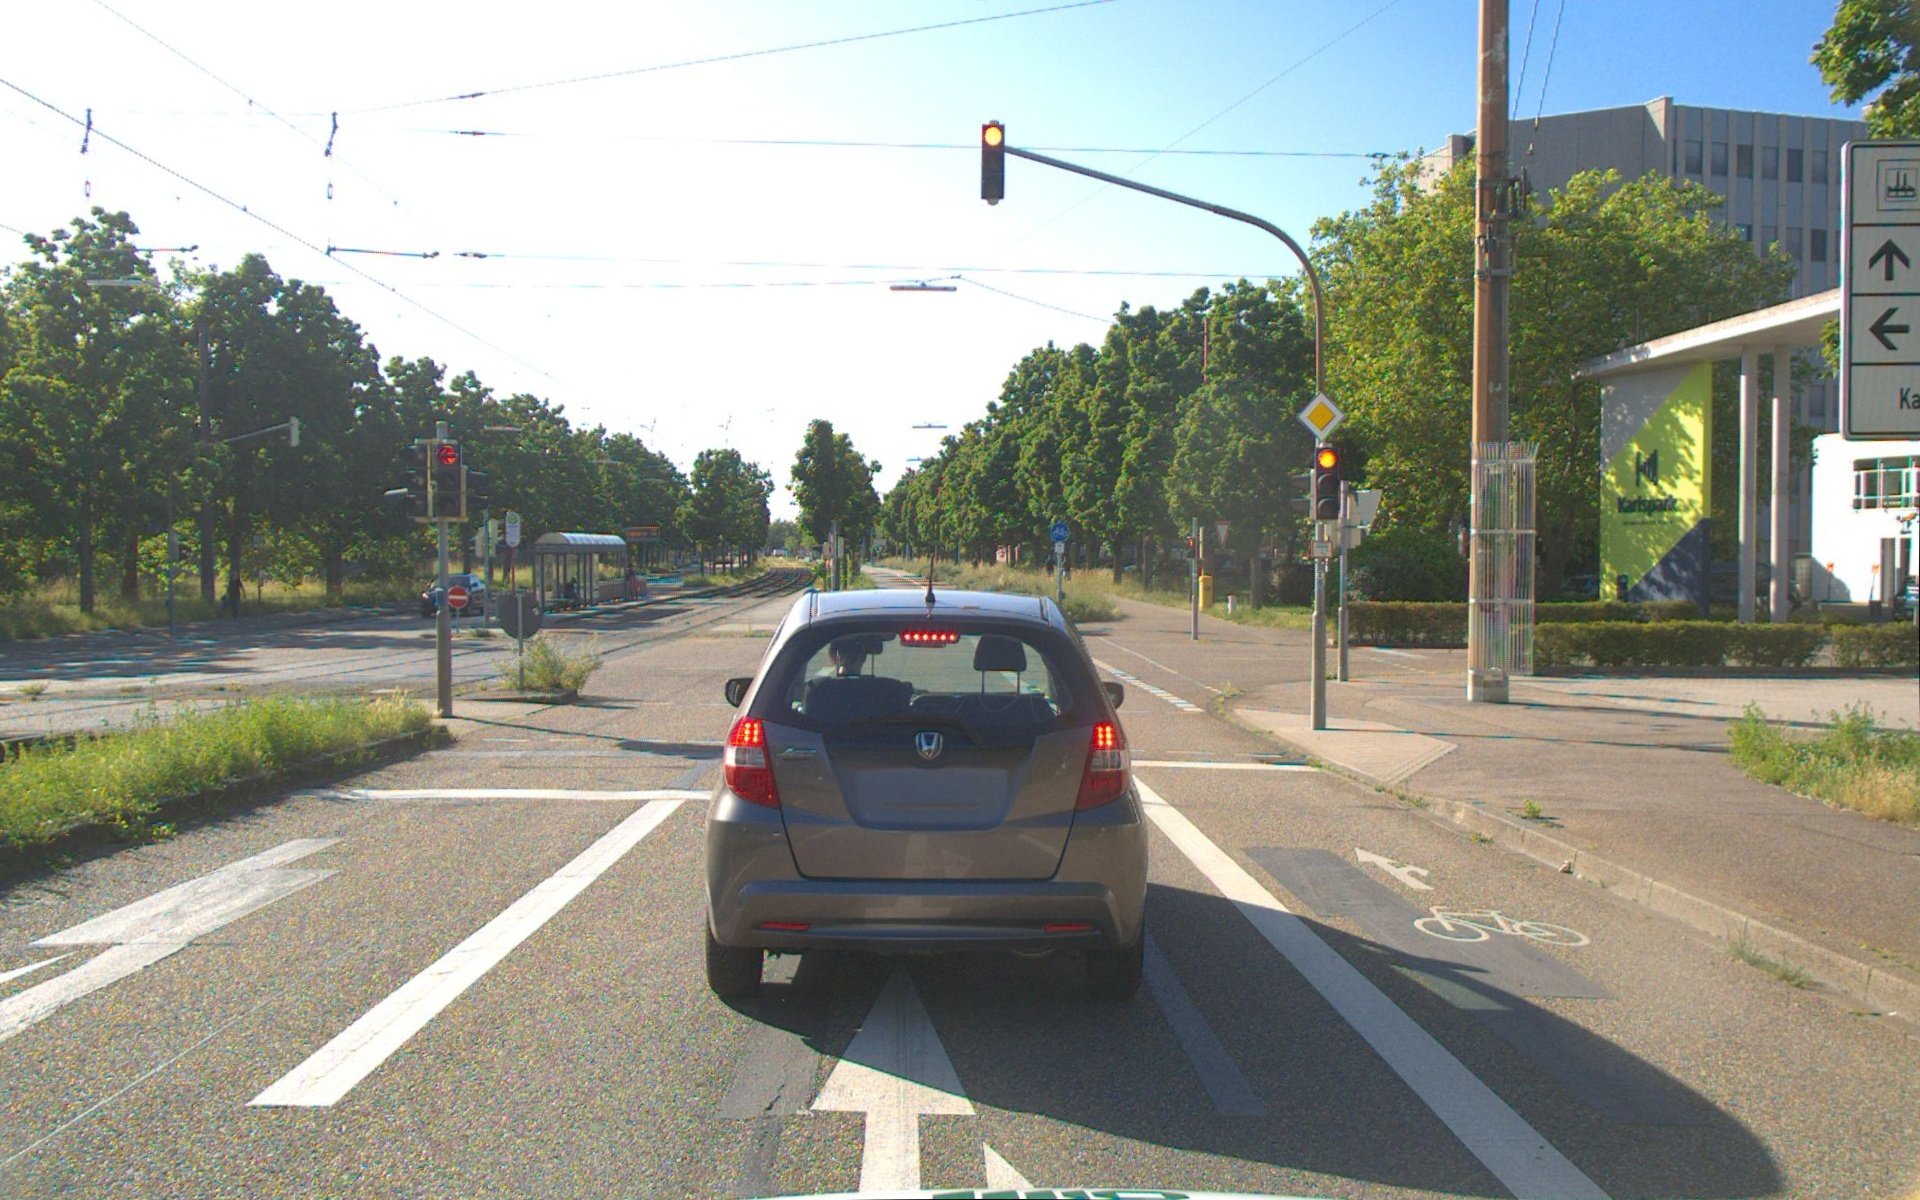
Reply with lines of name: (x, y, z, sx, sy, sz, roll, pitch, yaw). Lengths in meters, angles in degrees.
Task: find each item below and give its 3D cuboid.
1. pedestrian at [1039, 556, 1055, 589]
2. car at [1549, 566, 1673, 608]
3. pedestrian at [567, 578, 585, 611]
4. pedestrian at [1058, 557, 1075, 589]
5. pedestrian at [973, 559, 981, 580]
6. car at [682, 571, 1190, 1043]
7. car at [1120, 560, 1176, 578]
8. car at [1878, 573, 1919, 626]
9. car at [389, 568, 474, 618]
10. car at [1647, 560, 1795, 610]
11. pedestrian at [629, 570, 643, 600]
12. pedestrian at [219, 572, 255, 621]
pedestrian: (5.163, -1.627, 98.241, 0.865, 1.917, 0.875, 0, 1, -5)
car: (26.576, -0.543, 67.618, 4.371, 1.715, 1.892, 0, 1, -7)
pedestrian: (-15.152, -0.225, 65.285, 0.552, 1.279, 0.580, -2, 0, -2)
pedestrian: (6.336, -1.614, 98.313, 0.865, 1.917, 0.875, 0, 1, -5)
pedestrian: (1.466, -2.634, 142.779, 0.710, 1.720, 0.820, 0, -1, -3)
car: (-0.103, 0.683, 7.329, 1.666, 1.550, 3.709, 1, 0, -1)
car: (16.459, -2.715, 144.822, 4.543, 1.582, 1.997, -1, 1, -7)
car: (30.586, -0.023, 50.752, 3.914, 1.605, 1.950, 0, 1, -10)
car: (-21.255, -0.326, 66.721, 2.052, 1.841, 4.791, -2, 2, -3)
car: (27.947, -0.572, 60.778, 4.803, 1.787, 2.083, 0, 1, -16)
pedestrian: (-15.653, -0.724, 79.838, 0.533, 1.473, 0.559, -1, 0, -1)
pedestrian: (-26.460, -0.136, 60.537, 0.744, 1.764, 0.936, 0, 1, 27)
